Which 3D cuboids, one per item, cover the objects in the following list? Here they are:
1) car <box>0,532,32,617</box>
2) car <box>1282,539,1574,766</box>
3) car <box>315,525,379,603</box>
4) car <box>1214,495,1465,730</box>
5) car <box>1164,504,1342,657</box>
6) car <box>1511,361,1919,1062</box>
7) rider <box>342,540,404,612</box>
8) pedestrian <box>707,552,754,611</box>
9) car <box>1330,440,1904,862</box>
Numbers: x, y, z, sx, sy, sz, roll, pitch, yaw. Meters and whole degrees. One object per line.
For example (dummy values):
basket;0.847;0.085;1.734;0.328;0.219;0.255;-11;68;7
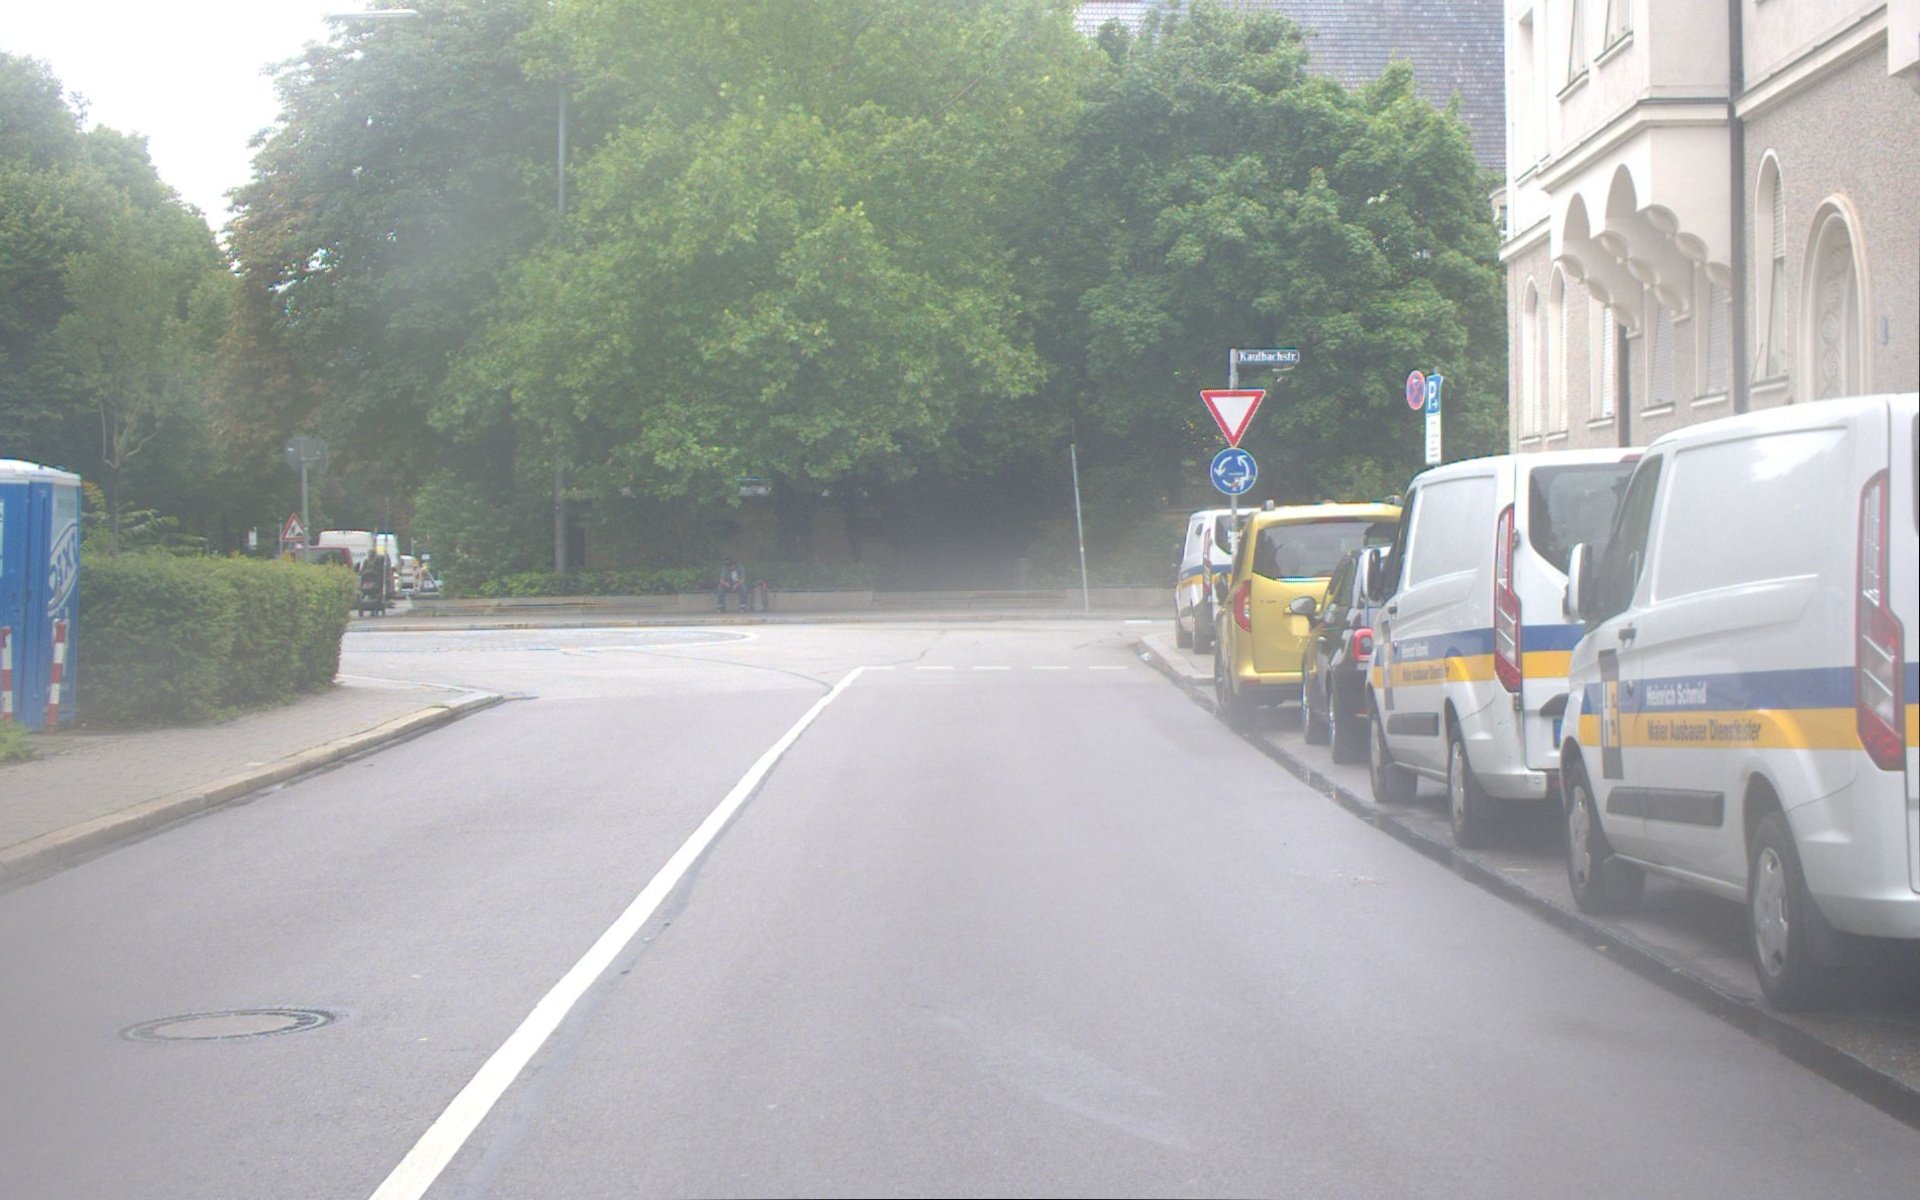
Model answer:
car;-26.699;-0.695;93.142;2.110;2.243;5.196;-1;1;-5
car;3.279;0.320;24.675;1.632;1.479;3.783;-1;1;1
car;-20.683;-1.227;116.152;2.041;2.549;5.250;-1;1;-10
car;3.191;0.053;29.733;1.850;1.846;4.820;-1;1;3
car;4.006;-0.307;47.725;1.916;1.955;4.927;-2;1;-1
car;3.452;0.263;12.378;1.959;2.007;4.994;-1;1;-2
rider;-14.160;-0.591;82.978;1.082;1.662;1.139;-3;1;8
pedestrian;-4.733;-0.384;70.902;0.812;1.185;0.919;-1;1;6
car;3.331;0.195;18.500;1.959;1.930;4.994;-1;1;-2
